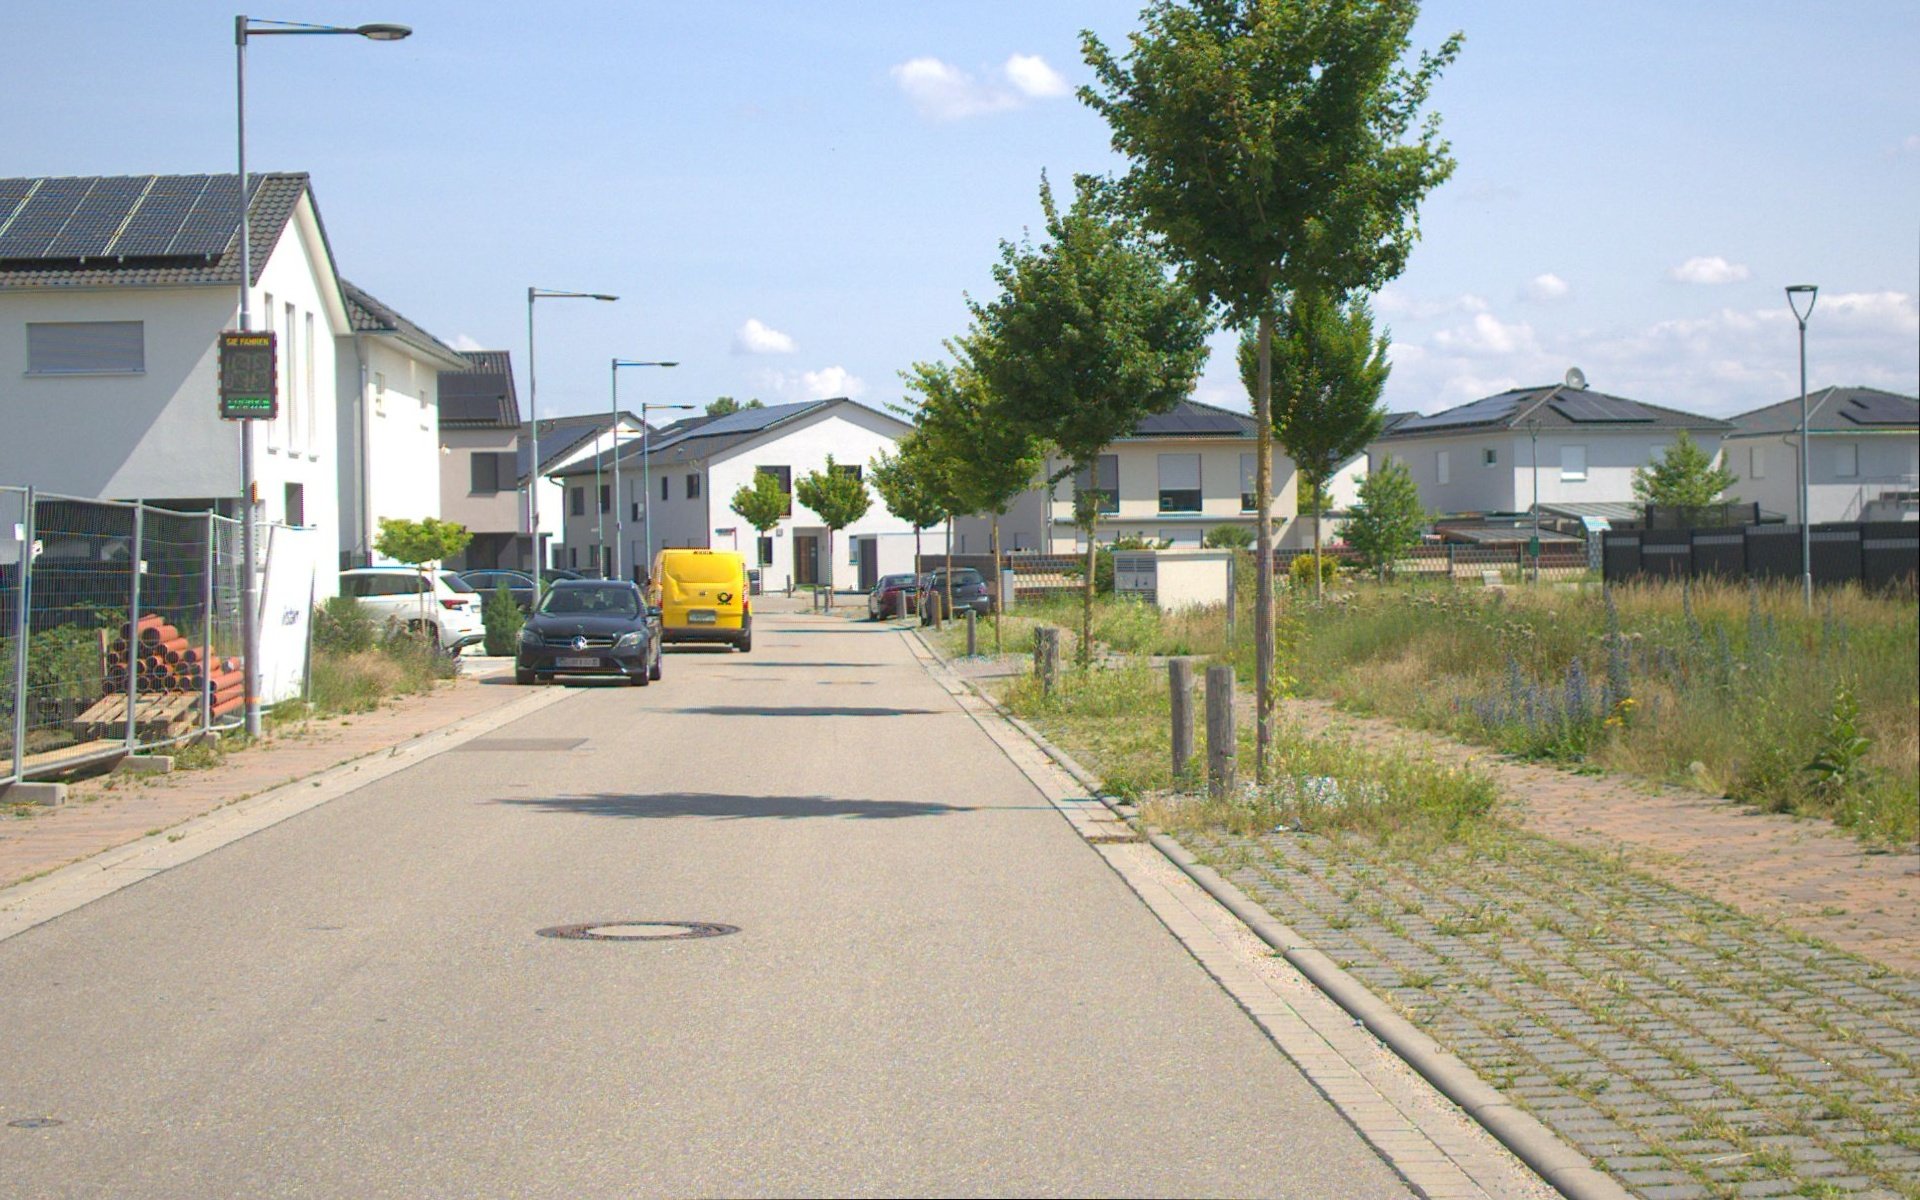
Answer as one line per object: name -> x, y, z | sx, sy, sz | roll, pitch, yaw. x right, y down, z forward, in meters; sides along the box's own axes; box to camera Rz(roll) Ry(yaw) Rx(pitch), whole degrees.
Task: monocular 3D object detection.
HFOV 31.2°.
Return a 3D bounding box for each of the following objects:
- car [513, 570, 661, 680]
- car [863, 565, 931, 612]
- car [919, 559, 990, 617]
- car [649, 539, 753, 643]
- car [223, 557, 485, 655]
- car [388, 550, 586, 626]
car -> -5.154, 0.315, 47.927 | 1.745, 1.400, 4.160 | 1, 1, -2
car -> -1.969, -0.348, 106.931 | 1.627, 1.318, 3.834 | -1, -1, -8
car -> -0.160, -0.284, 88.354 | 1.639, 1.398, 3.811 | -1, -1, -3
car -> -5.166, -0.168, 68.152 | 1.941, 1.975, 4.218 | -1, 0, -6
car -> -10.259, 0.092, 58.383 | 4.069, 1.576, 1.784 | 1, 1, 4
car -> -10.841, -0.275, 78.750 | 4.159, 1.499, 1.816 | 3, 0, -17
